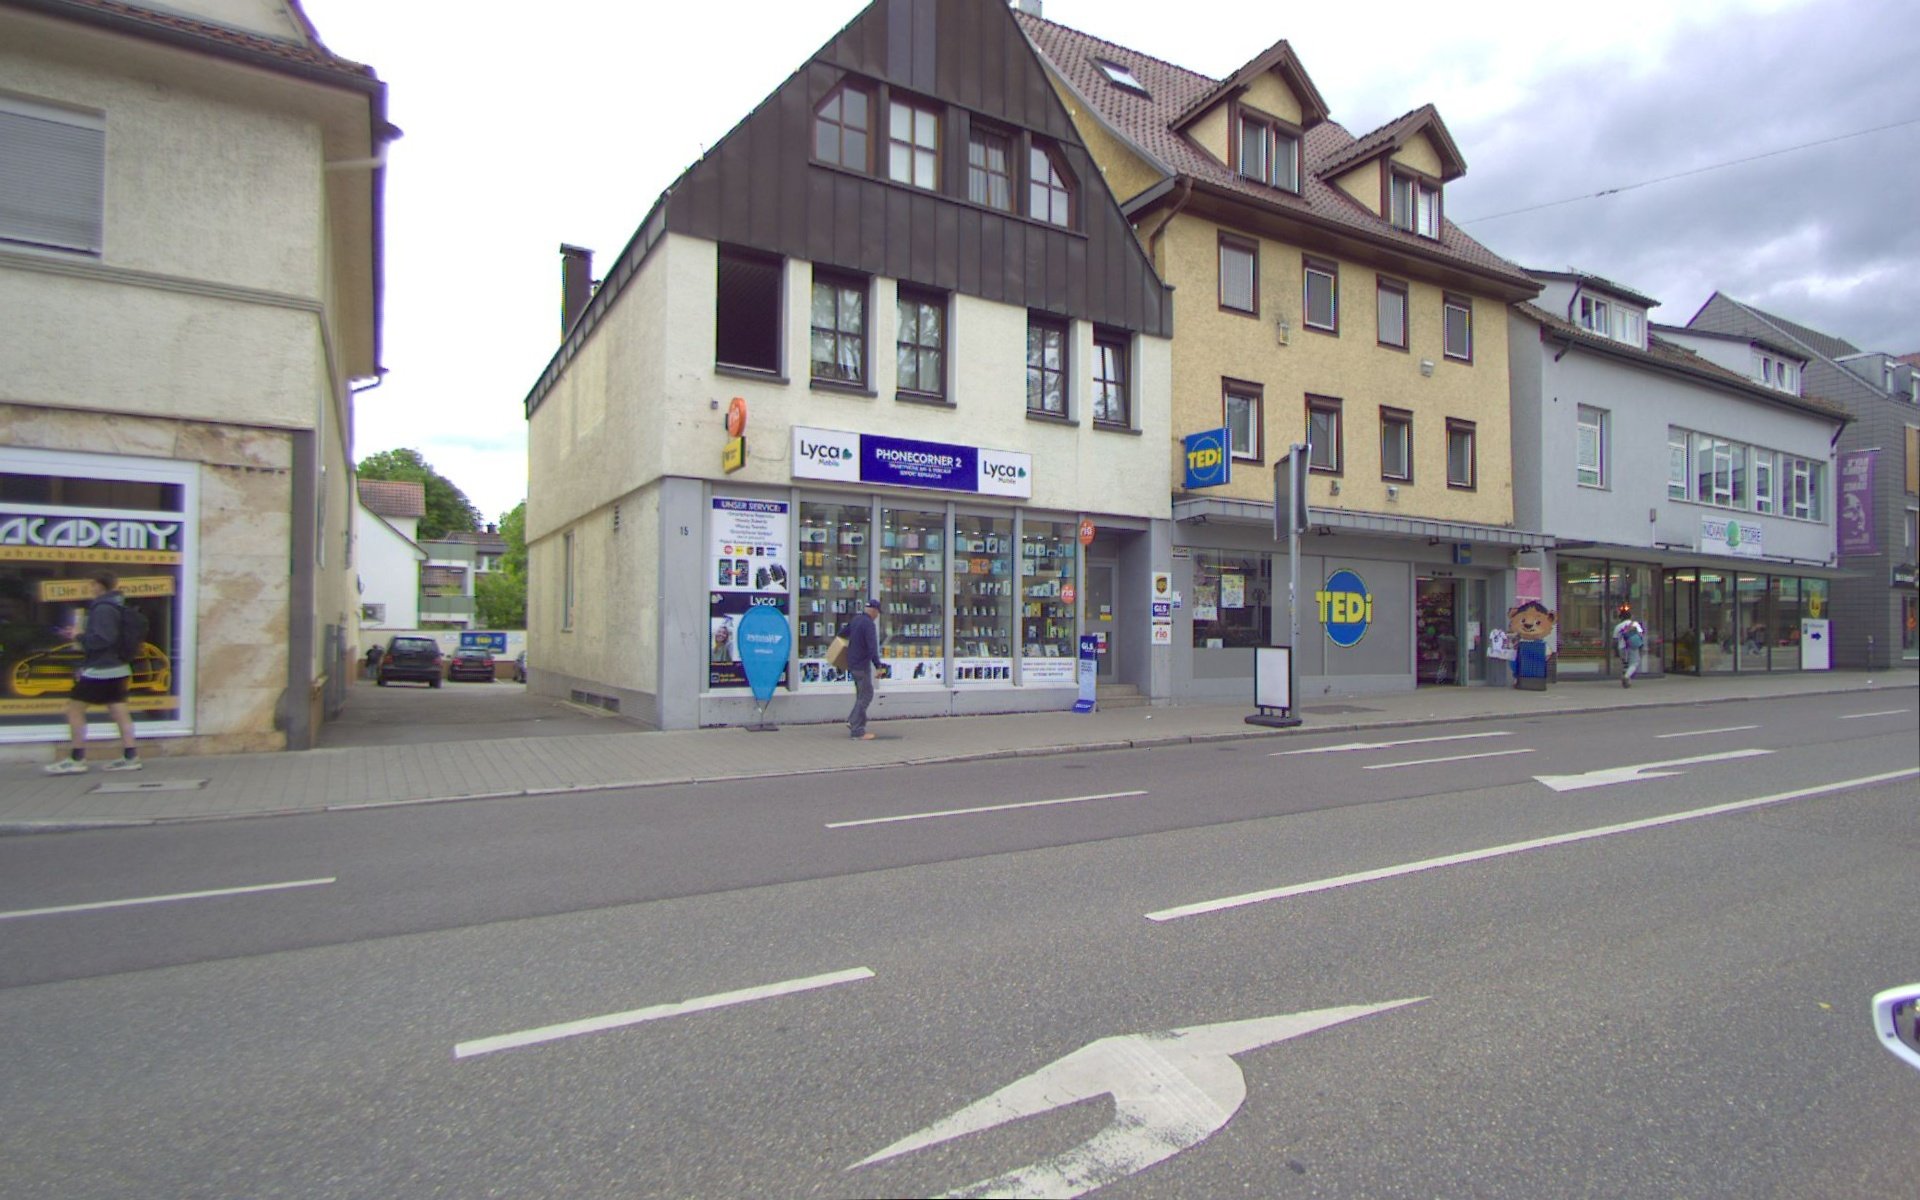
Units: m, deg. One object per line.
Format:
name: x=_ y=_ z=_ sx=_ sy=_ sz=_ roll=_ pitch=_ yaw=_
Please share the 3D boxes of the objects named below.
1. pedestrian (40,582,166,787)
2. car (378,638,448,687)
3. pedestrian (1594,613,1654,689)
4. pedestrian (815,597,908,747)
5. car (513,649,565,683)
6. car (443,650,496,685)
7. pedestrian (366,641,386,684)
pedestrian: x=-7.915 y=0.731 z=9.321 sx=0.798 sy=1.770 sz=0.861 roll=0 pitch=2 yaw=-35
car: x=-17.204 y=1.992 z=31.518 sx=1.747 sy=1.446 sz=3.891 roll=1 pitch=-5 yaw=-31
pedestrian: x=15.135 y=1.149 z=22.900 sx=0.971 sy=1.656 sz=0.811 roll=1 pitch=1 yaw=-36
pedestrian: x=-1.234 y=0.863 z=12.551 sx=0.799 sy=1.770 sz=0.860 roll=0 pitch=2 yaw=-38
car: x=-19.356 y=2.970 z=46.065 sx=1.746 sy=1.447 sz=3.892 roll=1 pitch=-2 yaw=-30
car: x=-21.792 y=2.960 z=44.571 sx=1.747 sy=1.447 sz=3.890 roll=1 pitch=-2 yaw=-31
pedestrian: x=-24.816 y=2.639 z=42.656 sx=0.728 sy=1.770 sz=0.799 roll=0 pitch=2 yaw=-32
